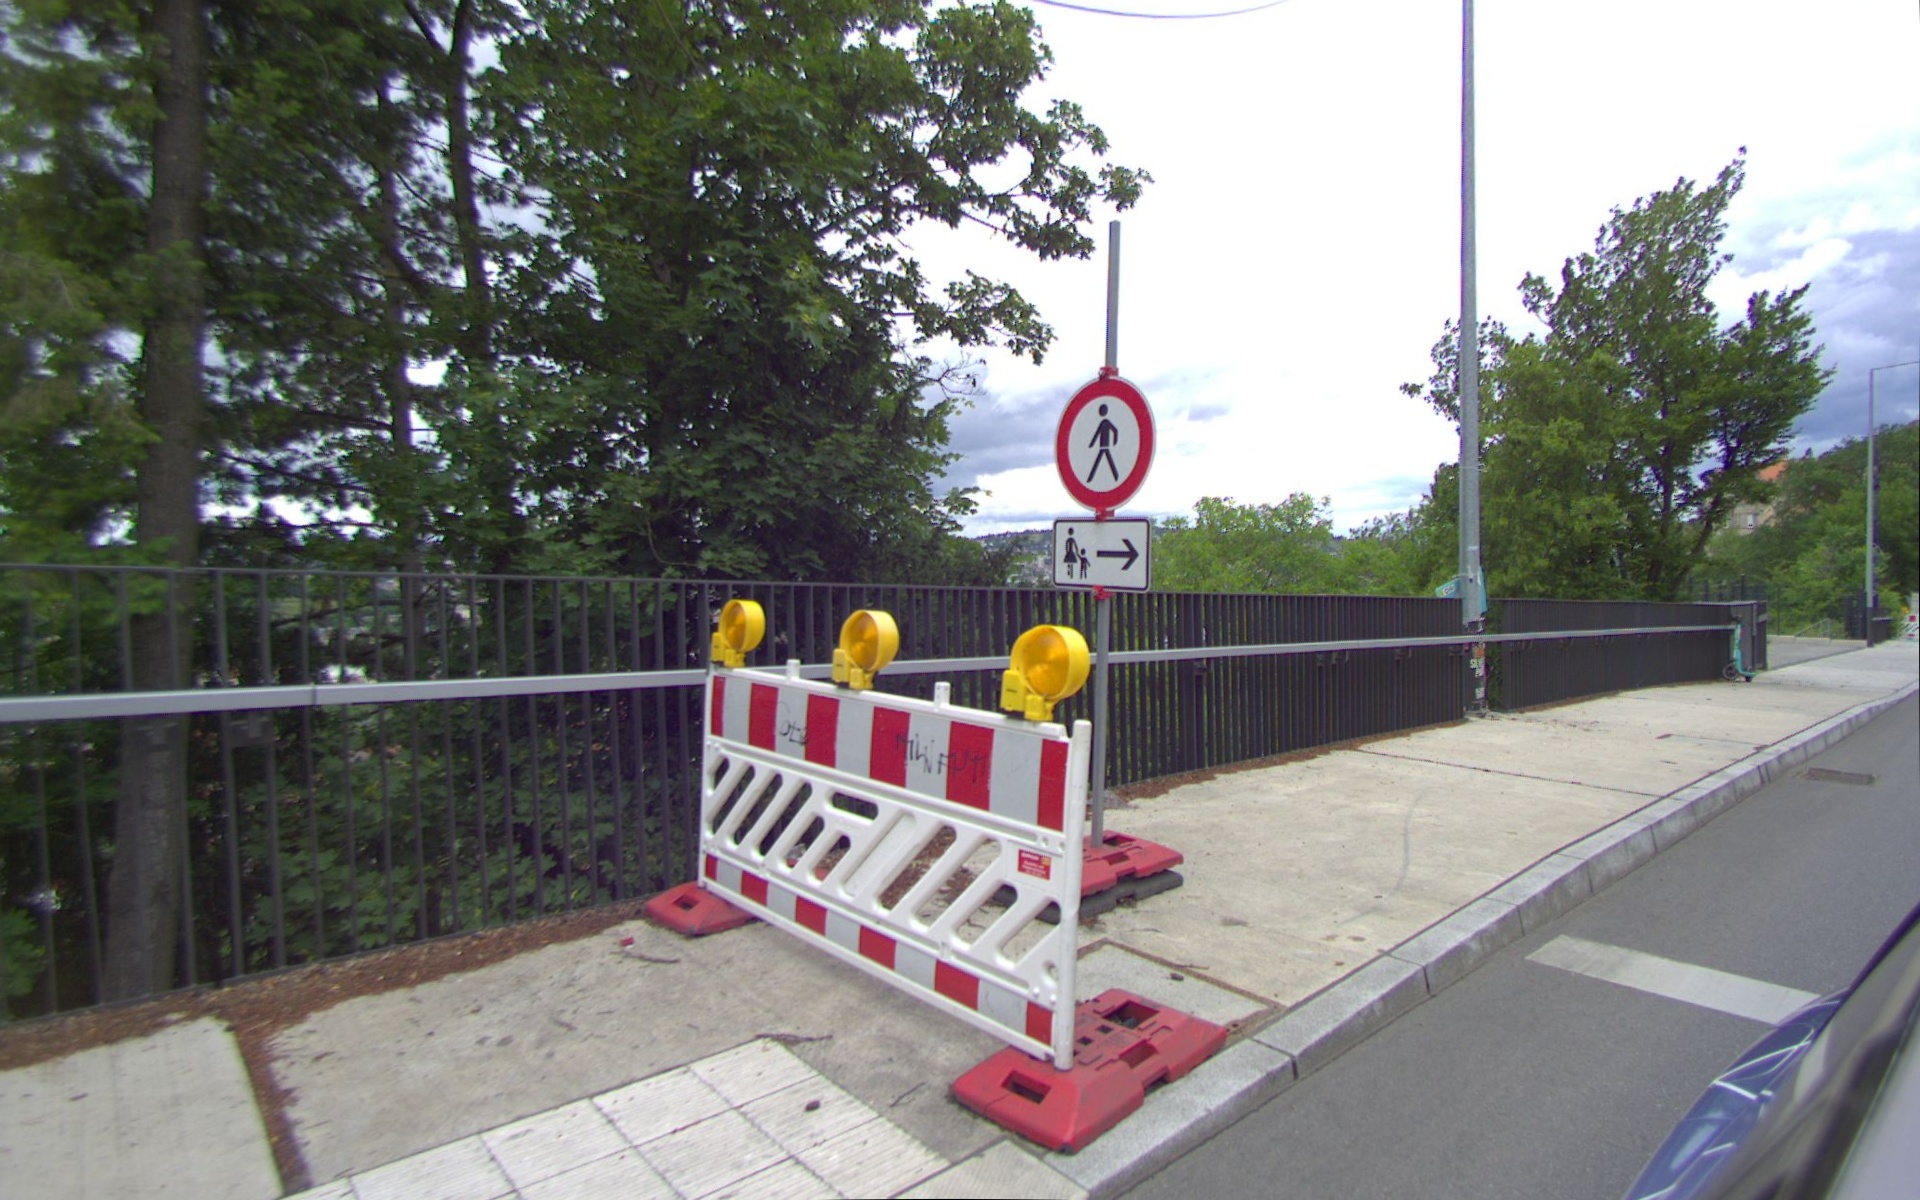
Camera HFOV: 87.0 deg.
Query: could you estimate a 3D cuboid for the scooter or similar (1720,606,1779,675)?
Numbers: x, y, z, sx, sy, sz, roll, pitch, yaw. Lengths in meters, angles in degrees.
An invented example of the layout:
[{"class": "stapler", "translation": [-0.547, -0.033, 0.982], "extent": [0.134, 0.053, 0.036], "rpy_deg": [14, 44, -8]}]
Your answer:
[{"class": "scooter or similar", "translation": [14.773, 0.750, 18.929], "extent": [1.183, 1.242, 0.536], "rpy_deg": [2, 1, -36]}]
